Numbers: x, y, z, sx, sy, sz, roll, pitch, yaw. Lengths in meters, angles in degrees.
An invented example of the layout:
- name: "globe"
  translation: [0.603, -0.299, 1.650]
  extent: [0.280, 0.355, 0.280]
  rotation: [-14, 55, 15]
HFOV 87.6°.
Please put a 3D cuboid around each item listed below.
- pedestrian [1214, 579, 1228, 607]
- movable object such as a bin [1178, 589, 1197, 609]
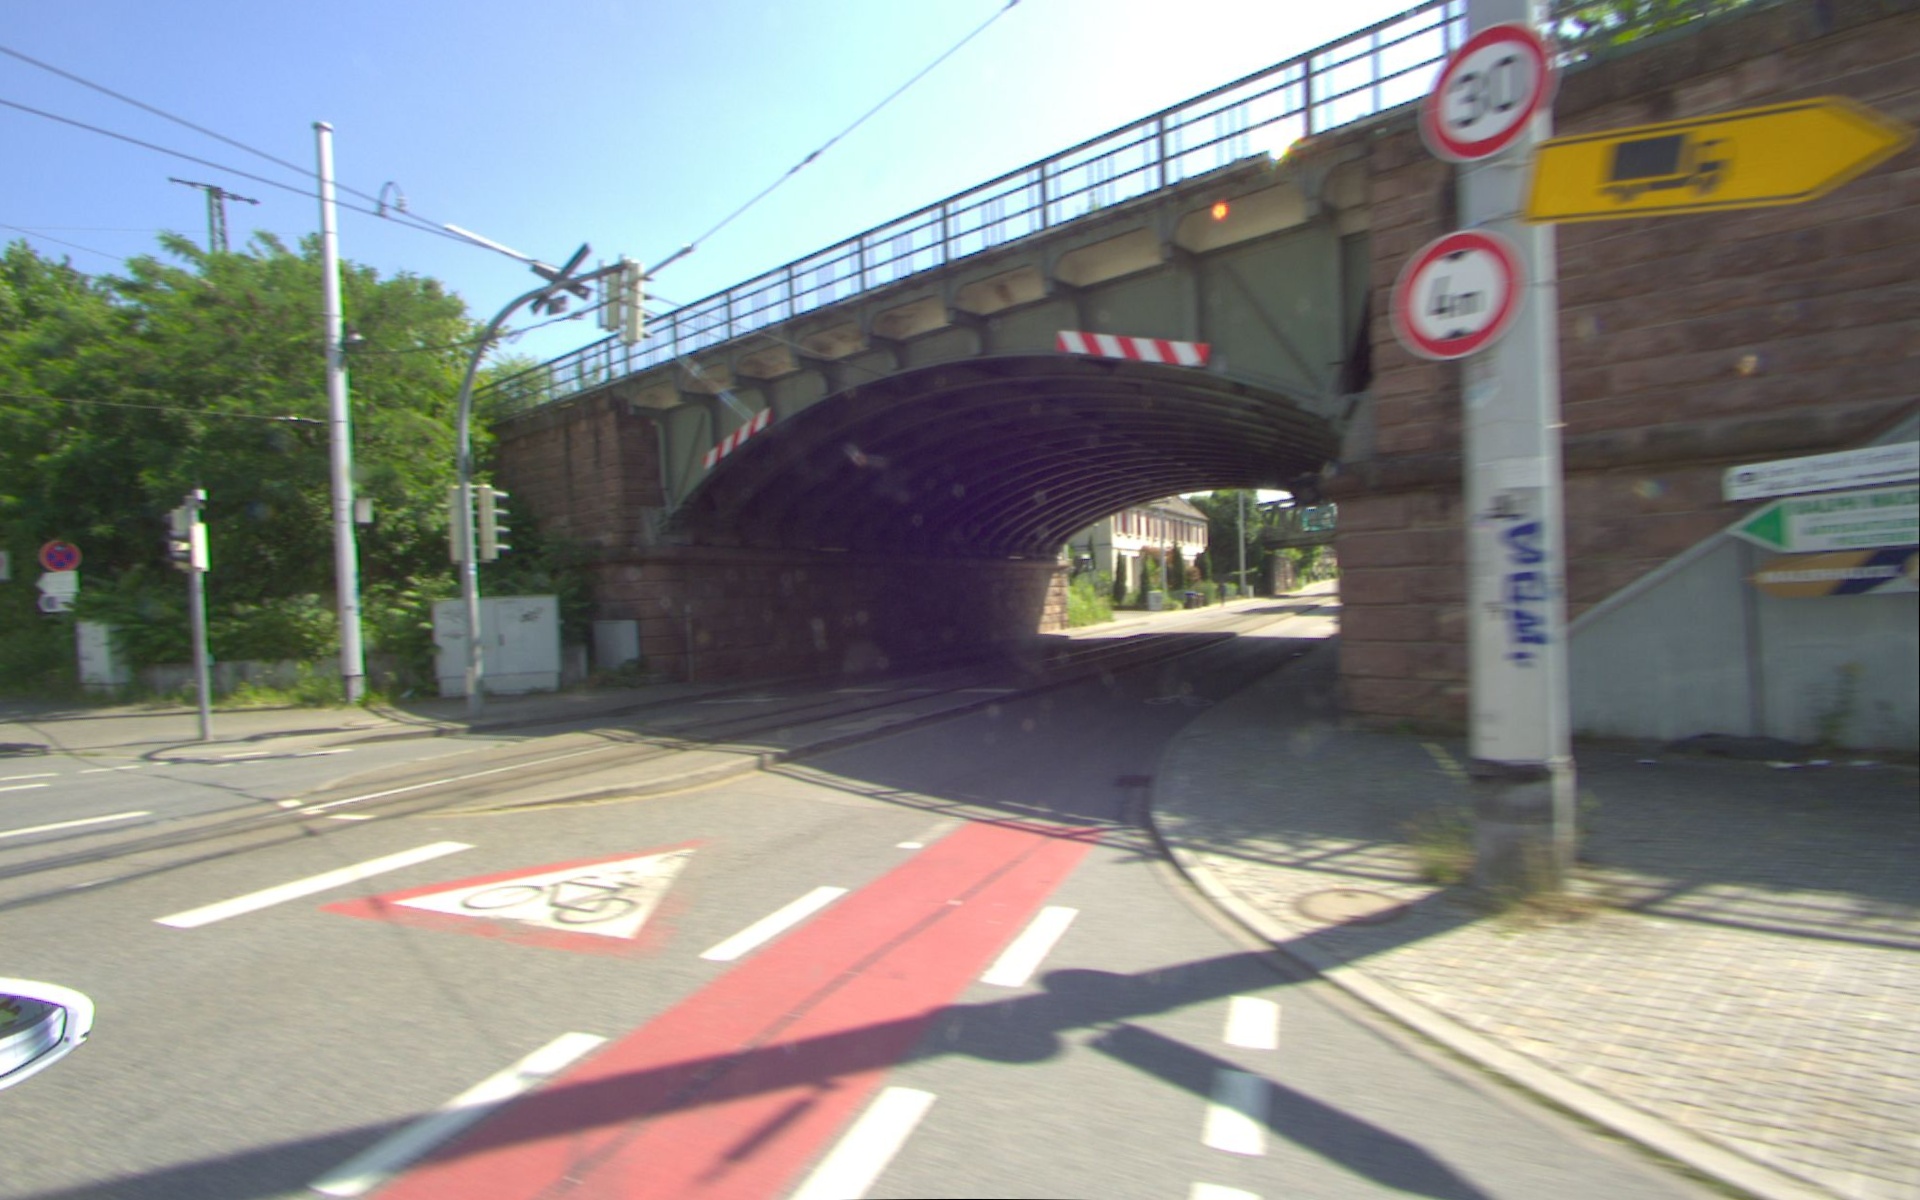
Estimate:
- name: "pedestrian"
  translation: [17.594, -0.454, 67.504]
  extent: [0.730, 1.842, 0.848]
  rotation: [-1, 1, 23]
- name: "movable object such as a bin"
  translation: [14.288, -0.058, 62.941]
  extent: [1.022, 1.178, 0.971]
  rotation: [-1, 1, 23]
